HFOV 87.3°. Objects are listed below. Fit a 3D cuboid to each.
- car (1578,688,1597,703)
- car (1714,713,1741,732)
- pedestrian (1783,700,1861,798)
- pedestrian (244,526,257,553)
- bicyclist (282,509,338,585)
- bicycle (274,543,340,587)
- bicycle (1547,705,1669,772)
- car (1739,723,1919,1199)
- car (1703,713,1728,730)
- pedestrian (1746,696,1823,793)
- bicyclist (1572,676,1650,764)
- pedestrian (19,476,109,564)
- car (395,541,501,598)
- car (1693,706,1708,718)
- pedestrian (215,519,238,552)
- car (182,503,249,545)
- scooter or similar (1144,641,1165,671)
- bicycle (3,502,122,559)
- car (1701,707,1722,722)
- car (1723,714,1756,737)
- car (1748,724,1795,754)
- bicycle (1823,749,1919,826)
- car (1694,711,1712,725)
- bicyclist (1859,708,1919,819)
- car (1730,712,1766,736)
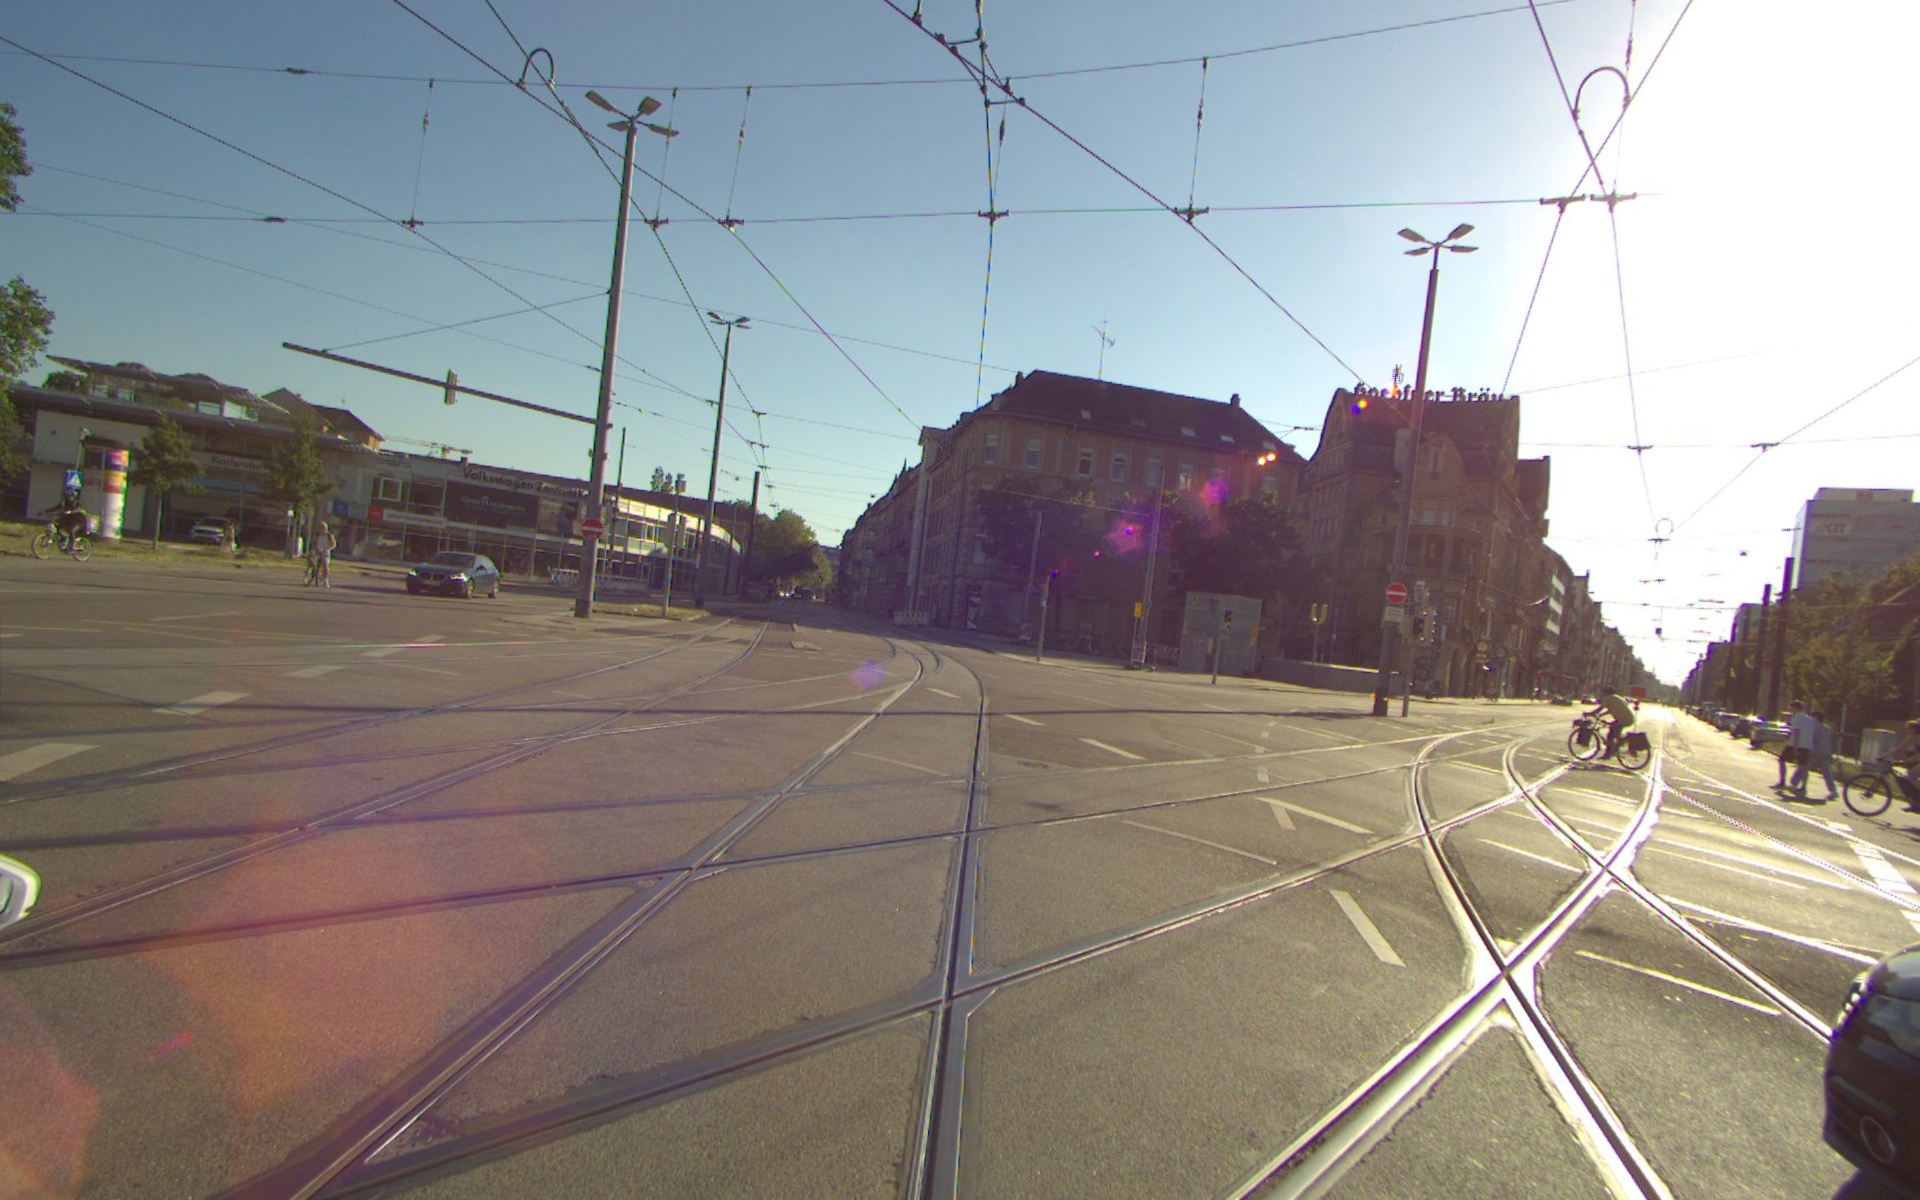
[{"bbox_3d":[99.159,15.060,158.993,1.964,2.036,4.001,9,-1,26],"label":"car"},{"bbox_3d":[72.681,11.588,95.264,1.729,1.480,4.010,6,-3,35],"label":"car"},{"bbox_3d":[18.036,3.095,21.063,0.678,1.870,0.820,9,0,4],"label":"pedestrian"},{"bbox_3d":[-35.959,-3.062,50.965,0.408,1.331,0.568,6,1,-33],"label":"pedestrian"},{"bbox_3d":[-18.719,-1.512,29.015,1.019,2.039,1.138,5,1,-22],"label":"bicyclist"},{"bbox_3d":[-18.810,-1.011,29.050,1.019,1.137,2.518,5,0,-22],"label":"bicycle"},{"bbox_3d":[14.012,2.978,21.823,0.757,1.040,2.096,8,0,-19],"label":"bicycle"},{"bbox_3d":[4.160,1.269,2.002,1.684,1.405,3.788,7,0,-41],"label":"car"},{"bbox_3d":[78.352,12.589,104.351,1.729,1.480,4.010,6,-3,35],"label":"car"},{"bbox_3d":[17.335,3.023,21.168,0.678,1.870,0.820,9,0,4],"label":"pedestrian"},{"bbox_3d":[14.069,2.582,21.767,0.757,1.716,0.970,8,0,-19],"label":"bicyclist"},{"bbox_3d":[-23.419,-2.070,26.333,1.017,2.037,1.268,9,-1,-10],"label":"pedestrian"},{"bbox_3d":[-16.385,-0.950,32.395,1.968,1.471,3.990,7,-1,-13],"label":"car"},{"bbox_3d":[119.350,18.043,162.169,1.729,1.480,4.010,6,-3,35],"label":"car"},{"bbox_3d":[-36.896,-3.233,50.611,0.716,1.534,0.824,6,1,-33],"label":"pedestrian"},{"bbox_3d":[-44.822,-4.513,60.630,1.974,2.036,3.981,10,-1,-21],"label":"car"},{"bbox_3d":[8.692,2.485,44.915,0.716,1.215,1.447,8,0,9],"label":"scooter or similar"},{"bbox_3d":[-23.480,-1.788,26.415,1.017,1.136,2.527,10,-1,-10],"label":"bicycle"},{"bbox_3d":[91.311,13.935,122.259,1.729,1.480,4.010,6,-3,35],"label":"car"},{"bbox_3d":[61.563,9.916,79.528,1.729,1.480,4.010,6,-3,35],"label":"car"},{"bbox_3d":[47.584,8.145,59.039,1.729,1.480,4.010,6,-3,35],"label":"car"},{"bbox_3d":[15.977,3.228,17.061,0.639,1.040,1.900,8,0,-17],"label":"bicycle"},{"bbox_3d":[102.908,16.348,139.331,1.729,1.623,4.010,6,-3,35],"label":"car"},{"bbox_3d":[16.072,2.780,16.981,0.639,1.716,0.971,8,0,-17],"label":"bicyclist"},{"bbox_3d":[58.390,9.245,74.620,1.729,1.480,4.010,6,-3,35],"label":"car"}]
